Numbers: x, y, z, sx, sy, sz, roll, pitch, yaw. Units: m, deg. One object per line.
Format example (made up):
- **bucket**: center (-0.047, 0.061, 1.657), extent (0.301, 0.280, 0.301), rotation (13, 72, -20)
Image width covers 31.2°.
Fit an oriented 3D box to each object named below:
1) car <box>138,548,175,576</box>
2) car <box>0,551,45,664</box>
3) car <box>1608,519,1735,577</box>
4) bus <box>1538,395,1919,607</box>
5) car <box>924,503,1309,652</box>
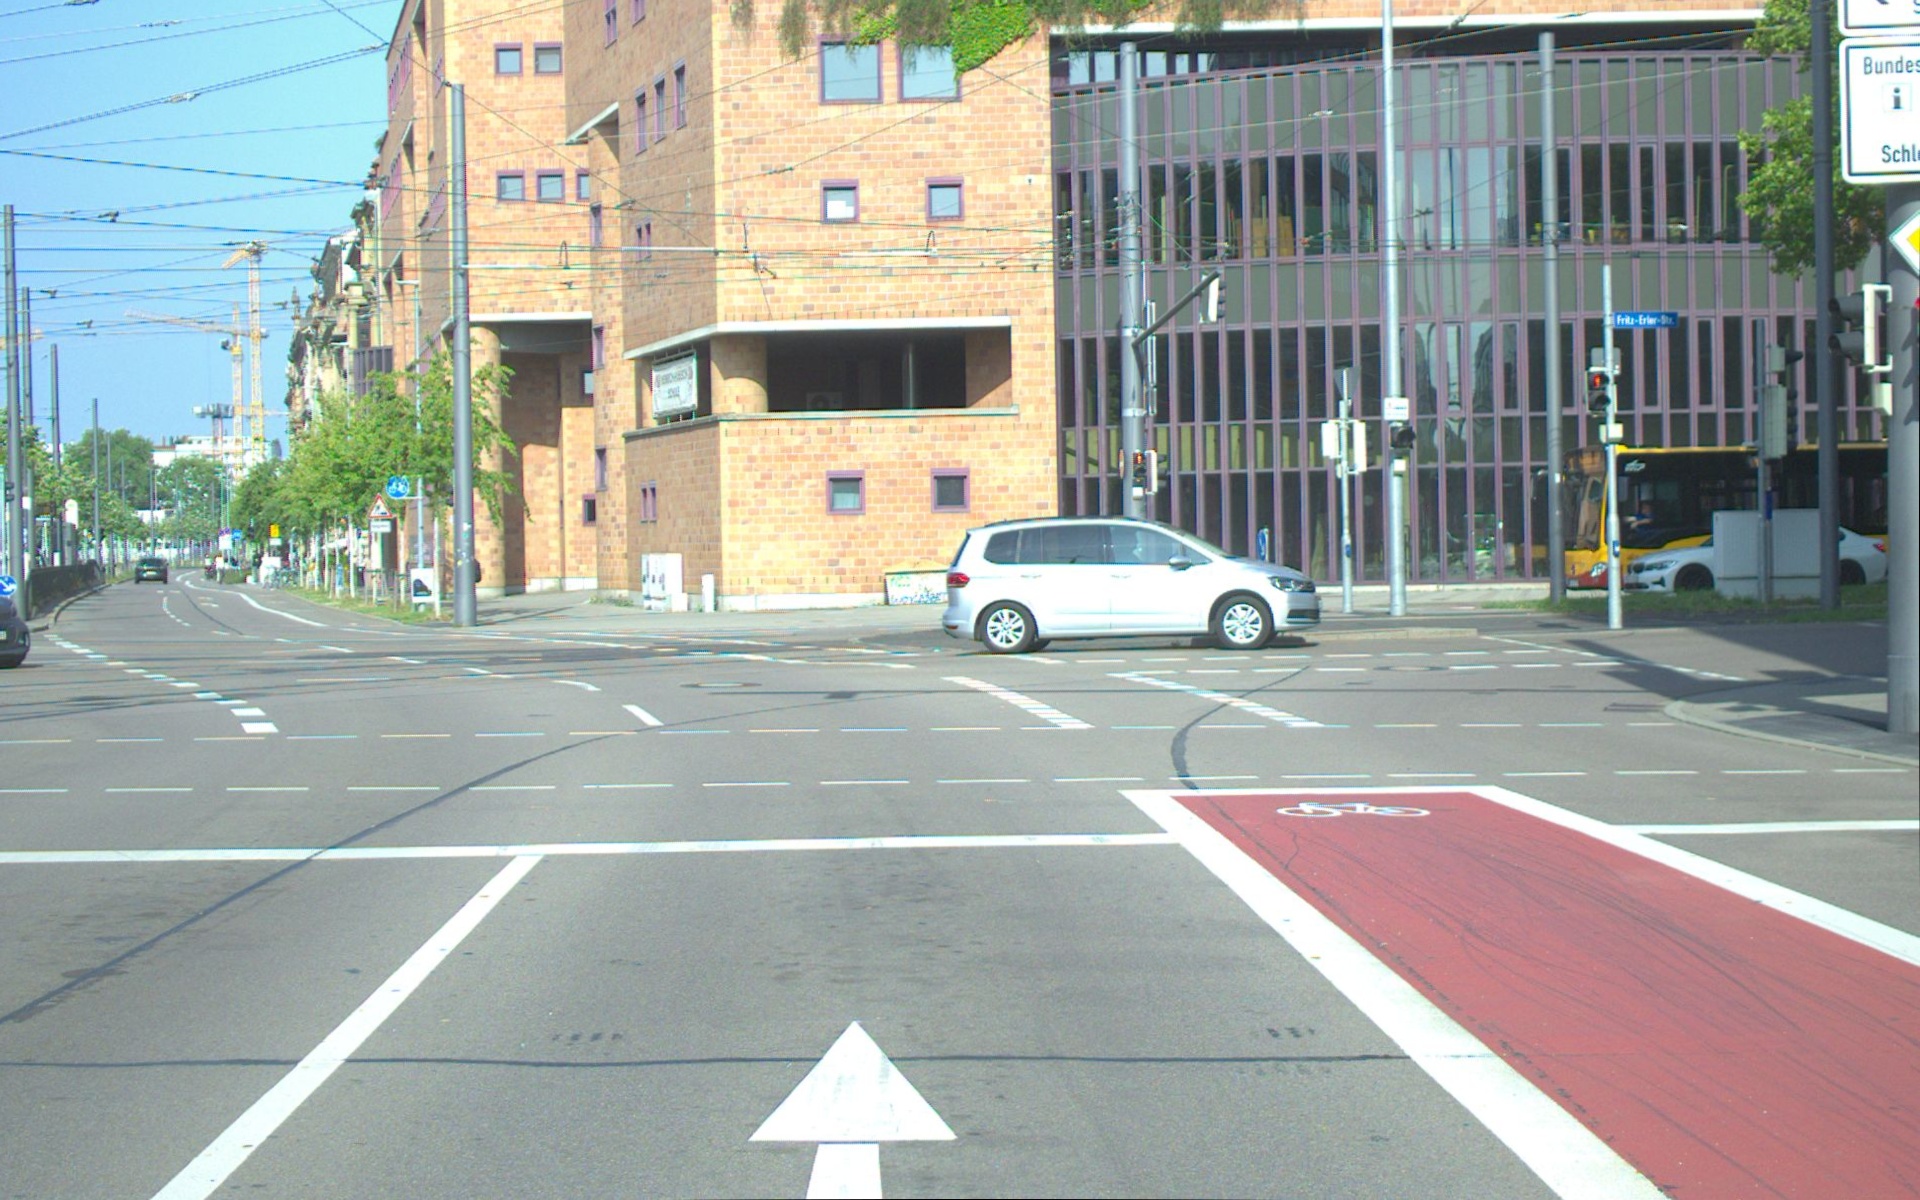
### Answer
- **car**: center (-47.189, -2.220, 201.918), extent (2.073, 1.537, 4.415), rotation (-1, 0, -13)
- **car**: center (-14.367, 0.134, 46.710), extent (3.597, 1.487, 1.699), rotation (-2, -2, 30)
- **car**: center (12.435, -0.908, 60.135), extent (1.951, 0.955, 1.094), rotation (1, -1, -3)
- **bus**: center (19.957, -1.938, 65.636), extent (17.605, 3.797, 2.866), rotation (-1, 0, -10)
- **car**: center (1.893, -0.273, 40.892), extent (4.379, 1.629, 1.690), rotation (-1, 3, 10)
